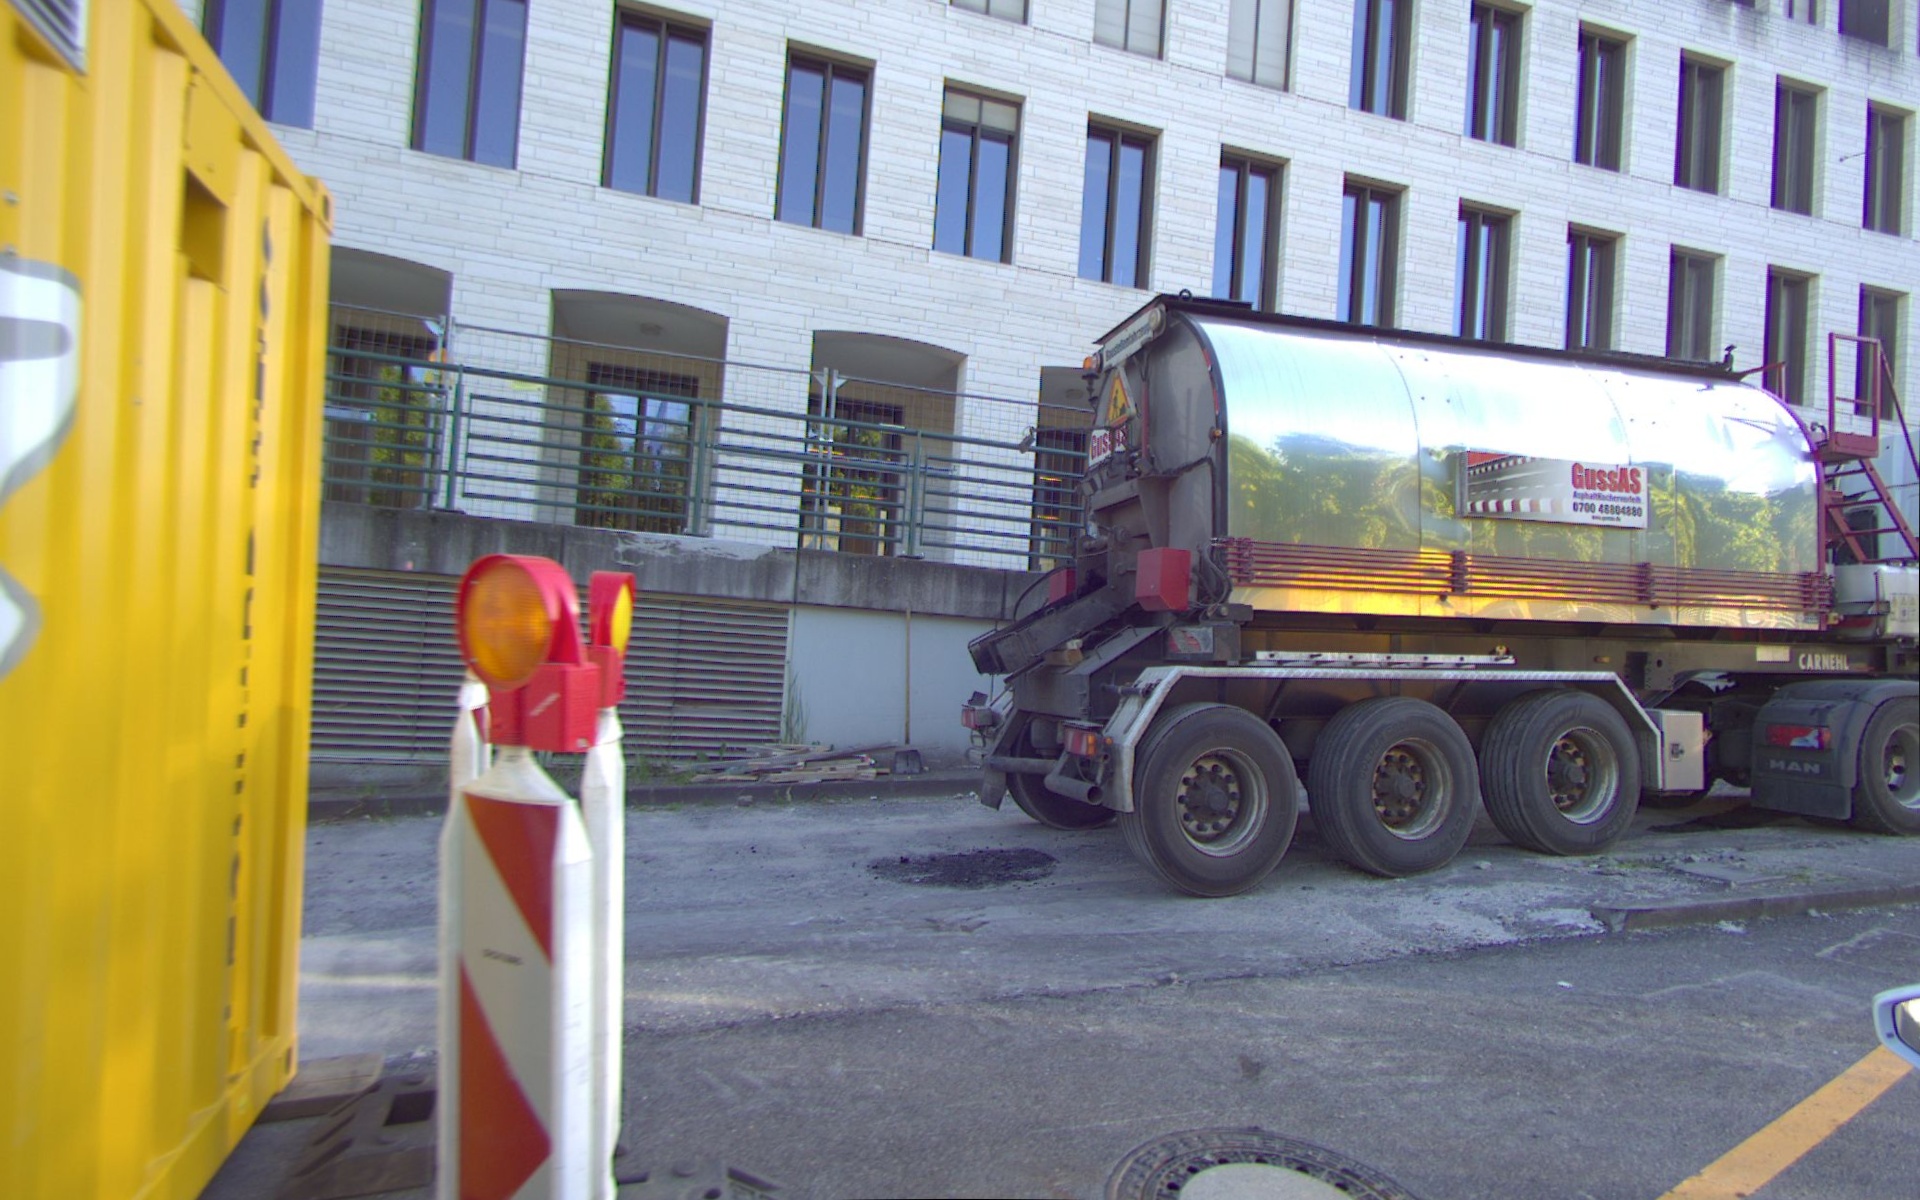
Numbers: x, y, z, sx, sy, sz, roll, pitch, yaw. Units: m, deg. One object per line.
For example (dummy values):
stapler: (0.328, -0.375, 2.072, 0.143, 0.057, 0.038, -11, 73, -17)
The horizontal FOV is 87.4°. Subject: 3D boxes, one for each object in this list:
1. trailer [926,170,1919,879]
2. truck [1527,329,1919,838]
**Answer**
trailer: (4.234, -0.200, 7.710, 8.606, 3.715, 2.643, 2, -5, -17)
truck: (8.468, 0.041, 8.914, 5.718, 3.534, 2.582, 2, -5, -14)
